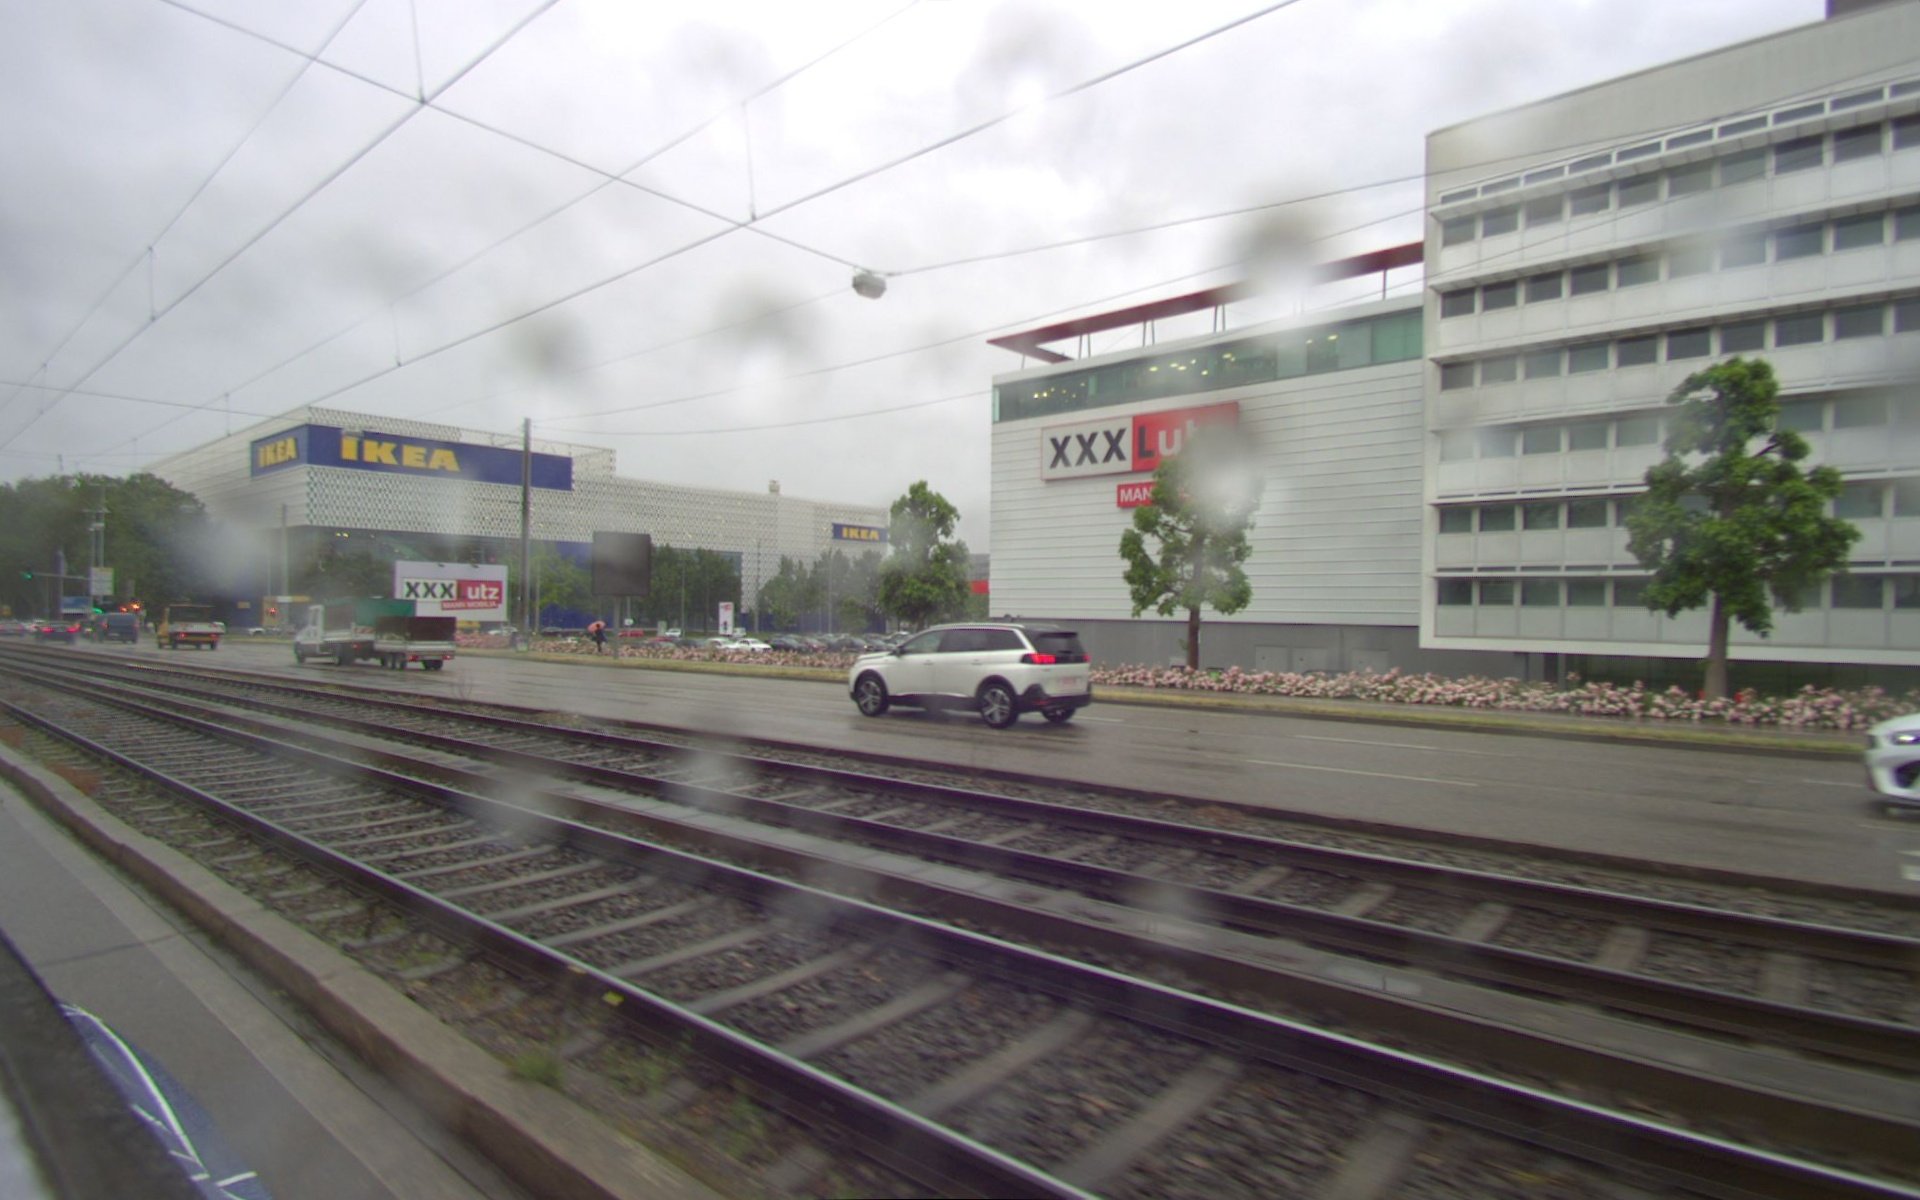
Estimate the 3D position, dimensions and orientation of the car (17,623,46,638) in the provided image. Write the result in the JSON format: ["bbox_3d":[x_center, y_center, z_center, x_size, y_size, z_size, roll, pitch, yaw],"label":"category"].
[{"bbox_3d":[-109.715,3.608,119.524,4.838,1.618,1.888,-2,1,40],"label":"car"}]

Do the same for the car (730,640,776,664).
[{"bbox_3d":[-19.102,4.790,93.257,4.085,2.029,1.975,-1,0,38],"label":"car"}]

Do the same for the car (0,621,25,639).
[{"bbox_3d":[-82.665,2.576,87.728,4.687,1.505,1.839,-1,-2,41],"label":"car"}]

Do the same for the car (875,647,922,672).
[{"bbox_3d":[-5.659,5.388,92.549,3.995,2.029,1.974,-1,0,39],"label":"car"}]

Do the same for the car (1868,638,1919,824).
[{"bbox_3d":[10.513,1.121,8.078,4.763,1.595,1.973,-1,-3,41],"label":"car"}]

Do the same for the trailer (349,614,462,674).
[{"bbox_3d":[-18.555,1.410,33.810,3.834,1.806,2.097,-1,0,41],"label":"trailer"}]

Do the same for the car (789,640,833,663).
[{"bbox_3d":[-14.513,4.994,98.544,3.995,2.029,1.974,-1,0,39],"label":"car"}]

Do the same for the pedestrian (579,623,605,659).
[{"bbox_3d":[-18.572,2.053,51.092,1.050,1.776,0.814,0,1,43],"label":"pedestrian"}]

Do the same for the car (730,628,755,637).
[{"bbox_3d":[-36.333,5.442,169.205,1.602,1.417,3.771,-1,0,43],"label":"car"}]

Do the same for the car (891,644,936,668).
[{"bbox_3d":[-4.373,5.253,95.060,3.995,2.029,1.974,-1,0,39],"label":"car"}]

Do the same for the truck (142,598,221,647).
[{"bbox_3d":[-42.492,1.241,55.185,6.064,2.480,2.203,-1,-4,42],"label":"truck"}]

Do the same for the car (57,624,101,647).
[{"bbox_3d":[-66.133,2.646,75.938,4.907,1.630,1.838,-1,-4,42],"label":"car"}]

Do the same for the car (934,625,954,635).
[{"bbox_3d":[-3.349,6.218,211.475,2.000,2.029,3.945,-1,0,42],"label":"car"}]

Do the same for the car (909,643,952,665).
[{"bbox_3d":[-3.031,5.460,102.146,3.994,2.029,1.975,-1,0,38],"label":"car"}]

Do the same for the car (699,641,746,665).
[{"bbox_3d":[-21.473,4.769,91.343,4.085,2.029,1.975,-1,0,38],"label":"car"}]

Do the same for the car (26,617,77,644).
[{"bbox_3d":[-56.701,1.886,63.140,4.533,1.635,1.800,-1,-1,41],"label":"car"}]

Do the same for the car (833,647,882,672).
[{"bbox_3d":[-8.970,5.161,88.274,3.995,2.029,1.974,-1,0,39],"label":"car"}]

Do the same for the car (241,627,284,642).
[{"bbox_3d":[-82.148,4.029,119.223,1.760,1.630,3.962,-1,0,42],"label":"car"}]

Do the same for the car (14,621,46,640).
[{"bbox_3d":[-97.414,3.165,106.011,4.691,1.848,1.972,-1,-2,42],"label":"car"}]

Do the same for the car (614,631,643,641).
[{"bbox_3d":[-50.449,5.483,154.234,1.602,1.417,3.930,-1,0,43],"label":"car"}]

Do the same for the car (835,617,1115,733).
[{"bbox_3d":[0.136,1.157,17.025,4.685,1.695,1.753,-1,-2,40],"label":"car"}]

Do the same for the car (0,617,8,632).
[{"bbox_3d":[-95.823,2.390,100.020,4.669,1.468,1.973,0,-3,41],"label":"car"}]

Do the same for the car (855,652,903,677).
[{"bbox_3d":[-7.265,5.711,90.313,3.995,2.029,1.974,-1,0,39],"label":"car"}]

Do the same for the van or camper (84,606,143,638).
[{"bbox_3d":[-57.170,1.487,68.303,5.684,2.029,2.280,-1,-2,42],"label":"van or camper"}]

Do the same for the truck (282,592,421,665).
[{"bbox_3d":[-22.750,1.057,37.664,7.217,2.476,2.409,-1,-3,42],"label":"truck"}]
